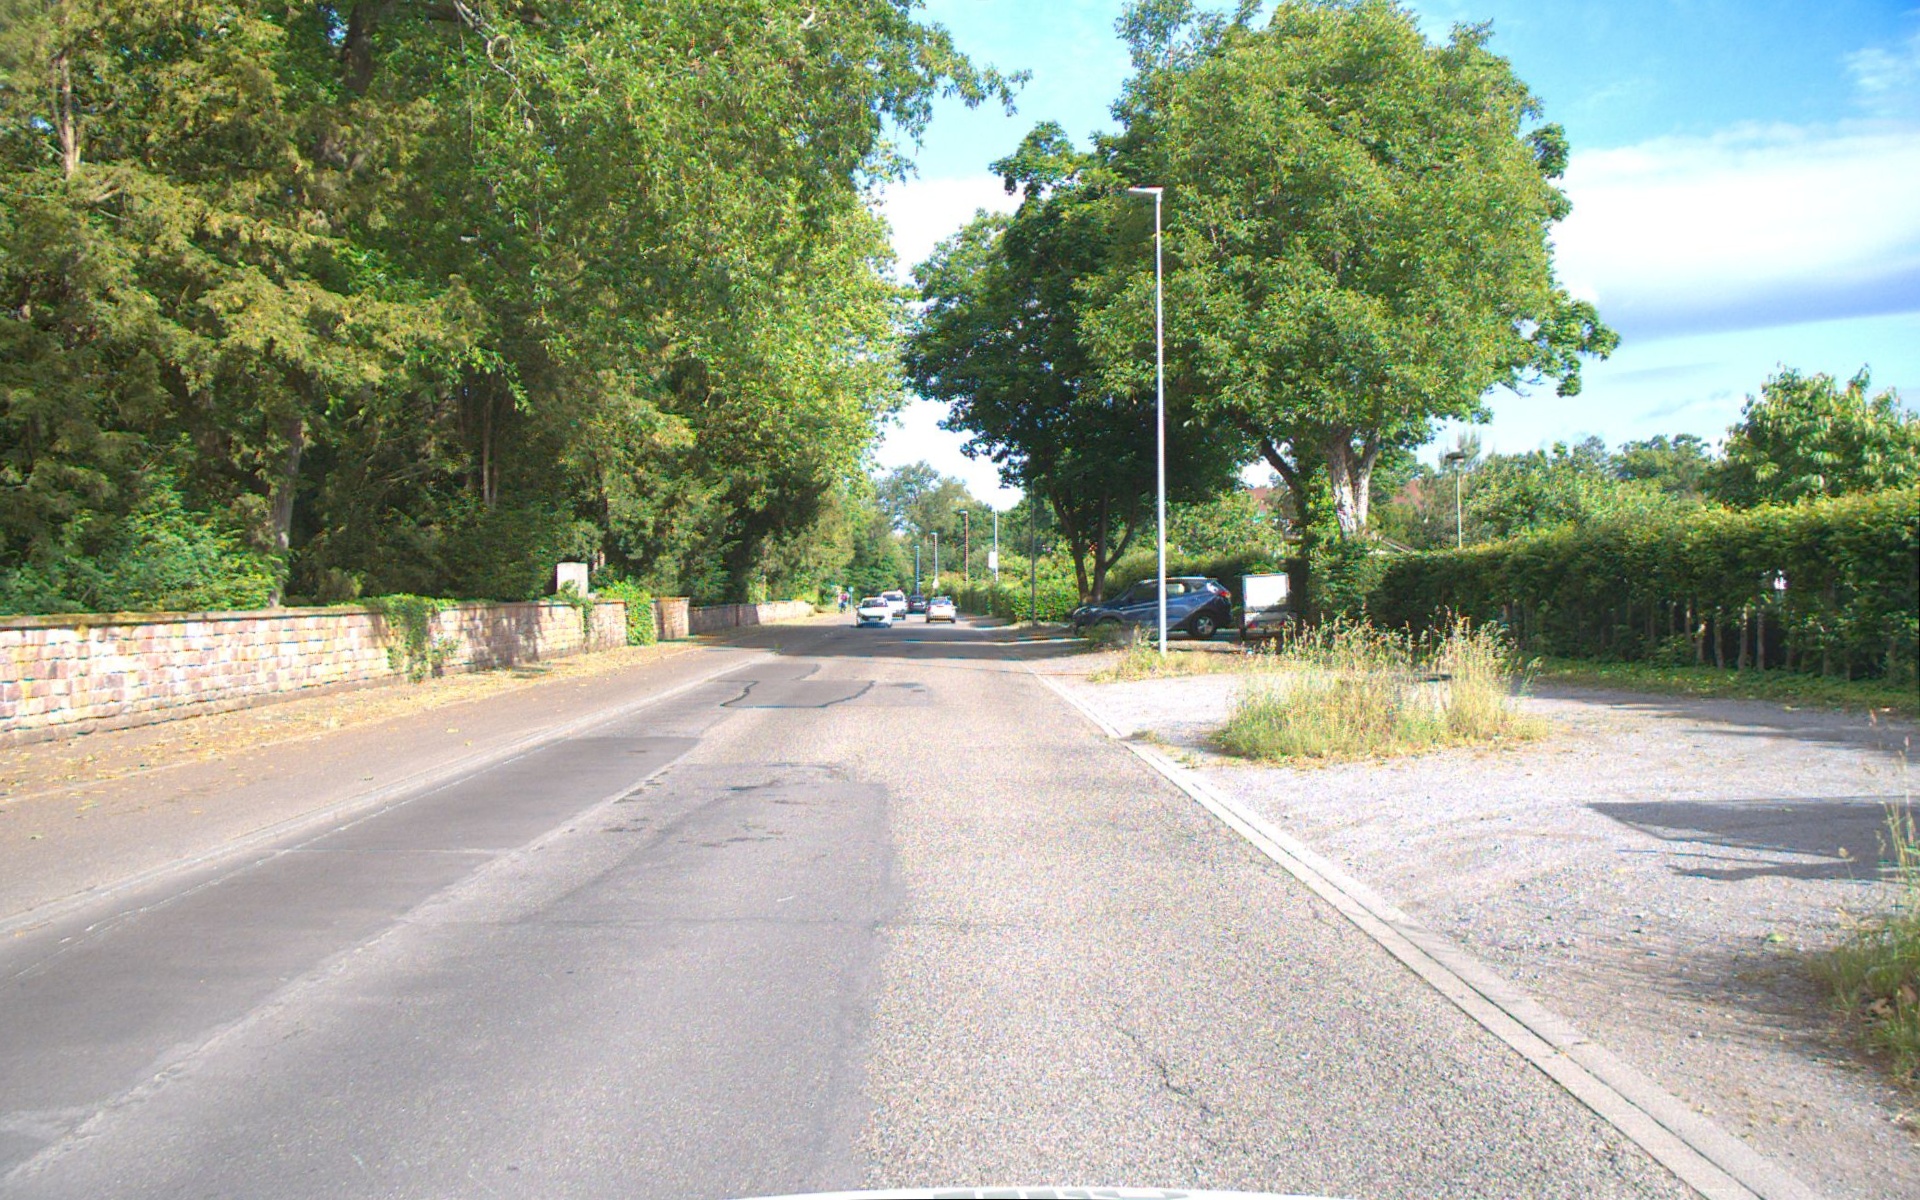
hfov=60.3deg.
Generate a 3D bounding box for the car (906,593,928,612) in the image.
[{"bbox_3d":[-3.863,0.183,147.791,1.848,1.641,4.053,-1,0,-2],"label":"car"}]

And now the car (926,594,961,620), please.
[{"bbox_3d":[-0.973,0.369,95.450,1.848,1.396,4.053,-1,0,-2],"label":"car"}]

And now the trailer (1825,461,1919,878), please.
[{"bbox_3d":[6.302,0.231,7.145,4.065,1.867,1.917,-2,0,3],"label":"trailer"}]

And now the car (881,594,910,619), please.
[{"bbox_3d":[-4.325,0.433,110.874,1.848,1.591,4.053,-1,0,-2],"label":"car"}]

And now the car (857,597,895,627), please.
[{"bbox_3d":[-4.178,0.573,82.095,1.849,1.396,4.052,-1,0,-3],"label":"car"}]

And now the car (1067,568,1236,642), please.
[{"bbox_3d":[5.204,0.118,45.459,4.314,1.675,2.000,-4,0,-1],"label":"car"}]

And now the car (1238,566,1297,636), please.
[{"bbox_3d":[8.077,-0.023,43.615,1.322,1.660,4.116,-4,1,9],"label":"car"}]
